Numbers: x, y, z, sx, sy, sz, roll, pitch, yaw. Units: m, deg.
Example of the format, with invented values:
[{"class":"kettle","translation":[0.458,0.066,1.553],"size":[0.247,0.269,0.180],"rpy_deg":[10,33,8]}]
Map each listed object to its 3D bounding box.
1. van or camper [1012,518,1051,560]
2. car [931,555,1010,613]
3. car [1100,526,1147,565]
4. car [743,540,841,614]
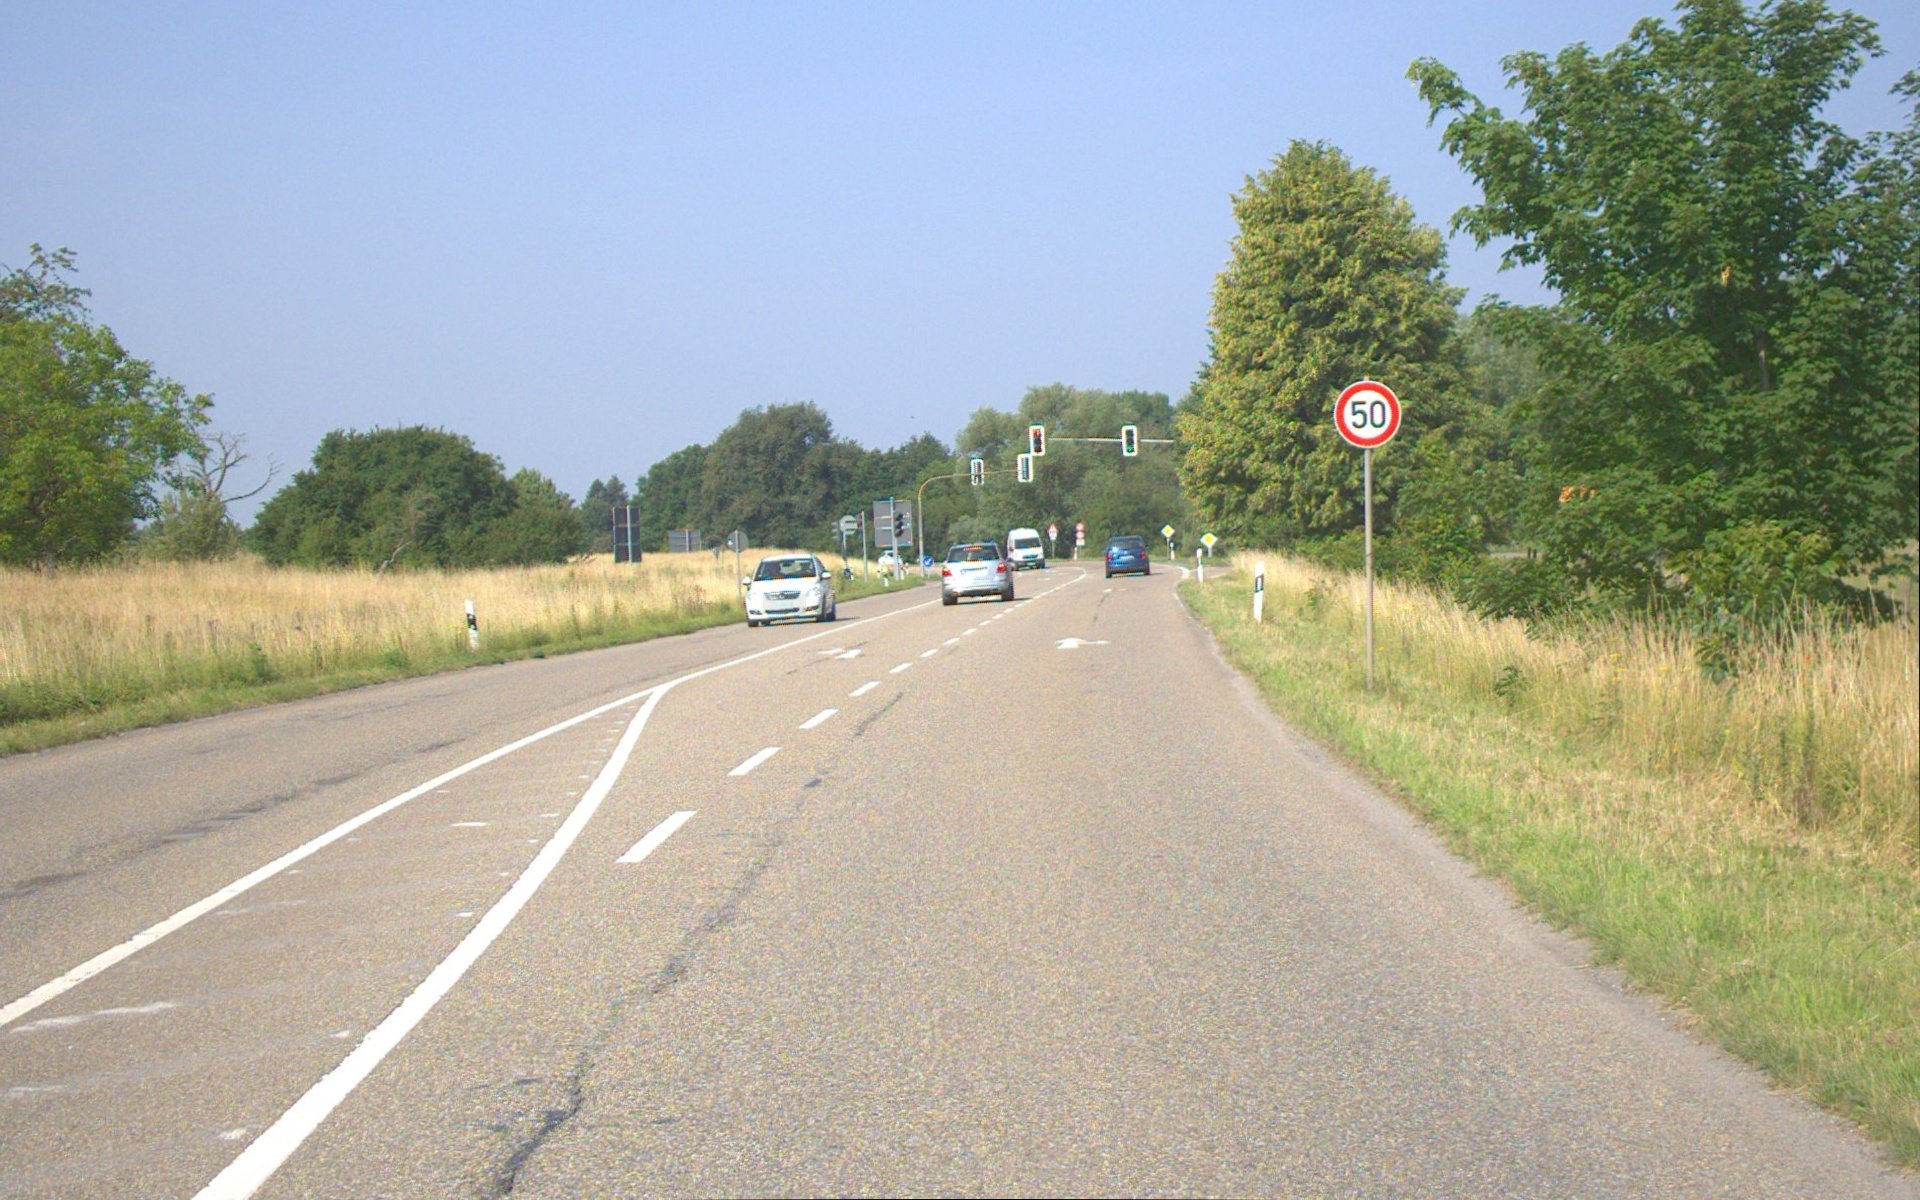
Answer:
[{"class":"van or camper","translation":[4.732,-4.023,225.531],"size":[2.265,2.700,5.262],"rpy_deg":[1,1,4]},{"class":"car","translation":[0.305,-0.460,93.119],"size":[1.899,1.506,4.000],"rpy_deg":[1,1,4]},{"class":"car","translation":[6.651,-2.224,139.275],"size":[1.816,1.515,4.000],"rpy_deg":[-2,1,3]},{"class":"car","translation":[-3.814,-0.549,78.677],"size":[1.812,1.579,4.224],"rpy_deg":[-2,1,3]}]
